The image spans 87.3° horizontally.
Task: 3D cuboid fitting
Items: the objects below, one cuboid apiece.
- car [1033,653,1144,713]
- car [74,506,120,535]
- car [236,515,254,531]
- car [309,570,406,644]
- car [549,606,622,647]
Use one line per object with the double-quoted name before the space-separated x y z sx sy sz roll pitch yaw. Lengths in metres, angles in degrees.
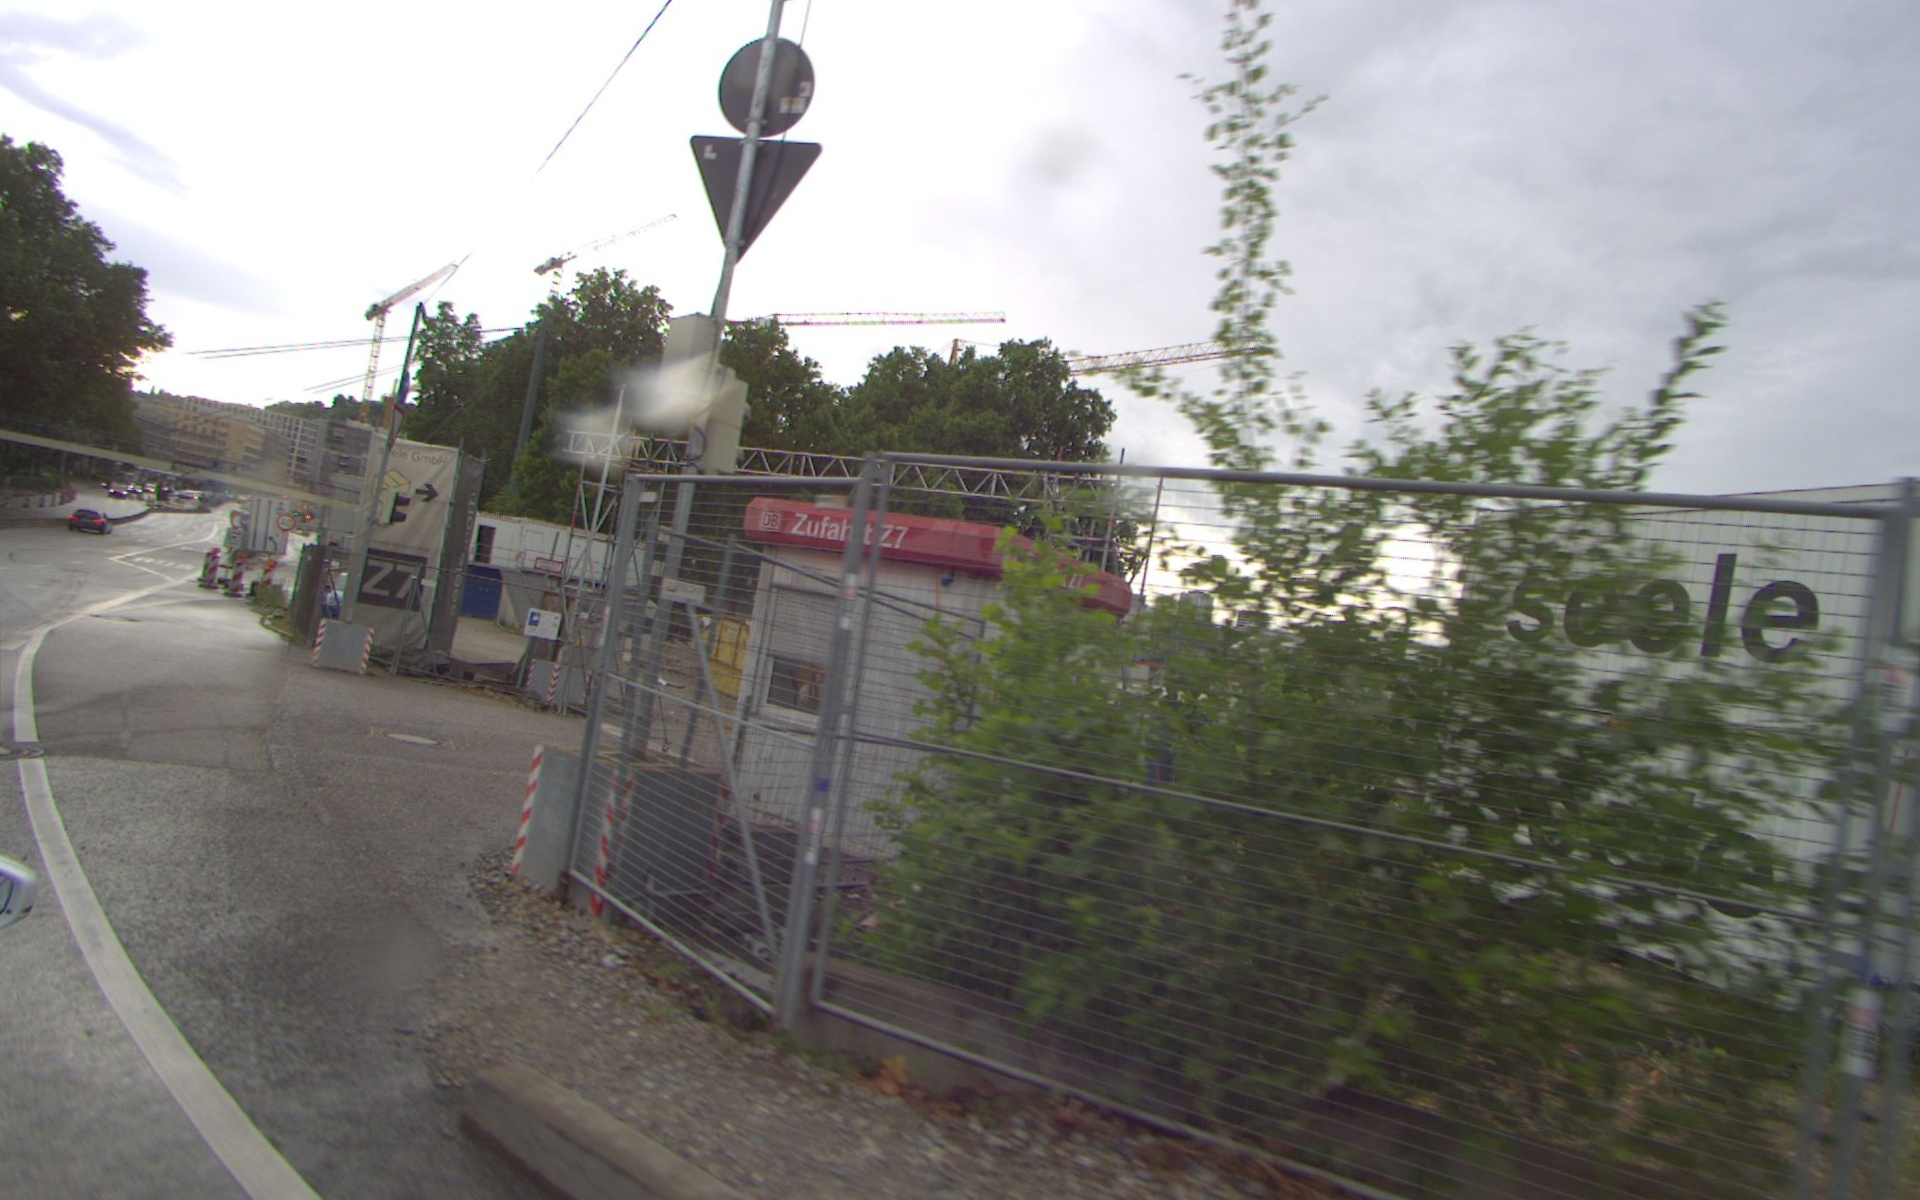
"car" 6.493 4.135 50.784 5.163 2.306 1.957 6 -1 14
"car" -56.245 -5.144 65.604 1.893 1.545 4.135 9 -2 -37
"car" -112.294 -12.123 157.947 1.982 2.037 3.965 8 -2 -34
"car" -15.825 0.137 26.475 1.823 1.456 4.378 12 -4 -31
"car" -17.242 1.194 46.212 1.708 1.319 3.954 12 -5 -41
